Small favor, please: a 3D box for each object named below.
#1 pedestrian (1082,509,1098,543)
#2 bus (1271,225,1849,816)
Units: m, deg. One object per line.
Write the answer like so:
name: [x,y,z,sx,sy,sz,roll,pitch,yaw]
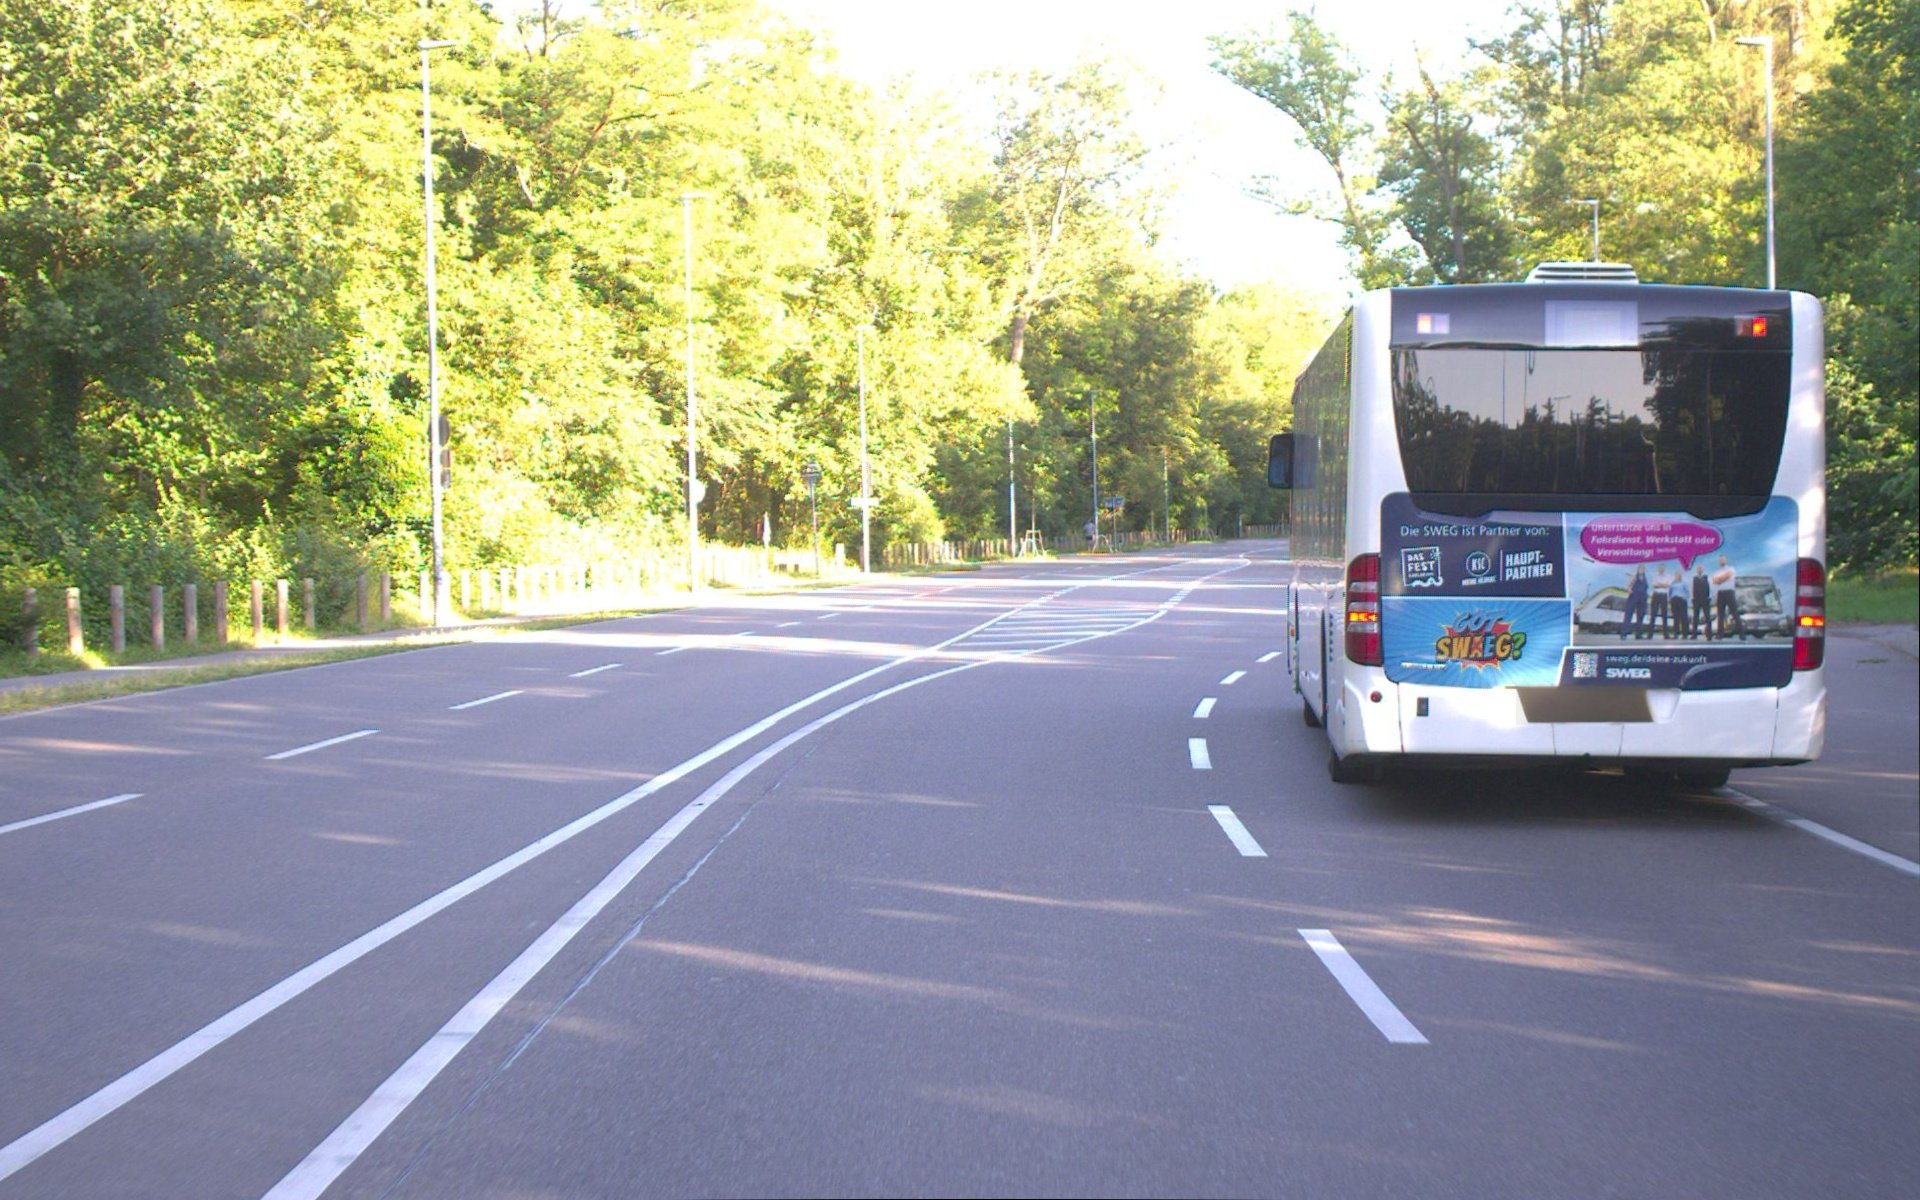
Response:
pedestrian: [6.904,-3.912,182.049,0.779,1.806,0.770,0,1,7]
bus: [3.627,-0.522,23.739,2.690,3.032,12.040,0,1,4]
